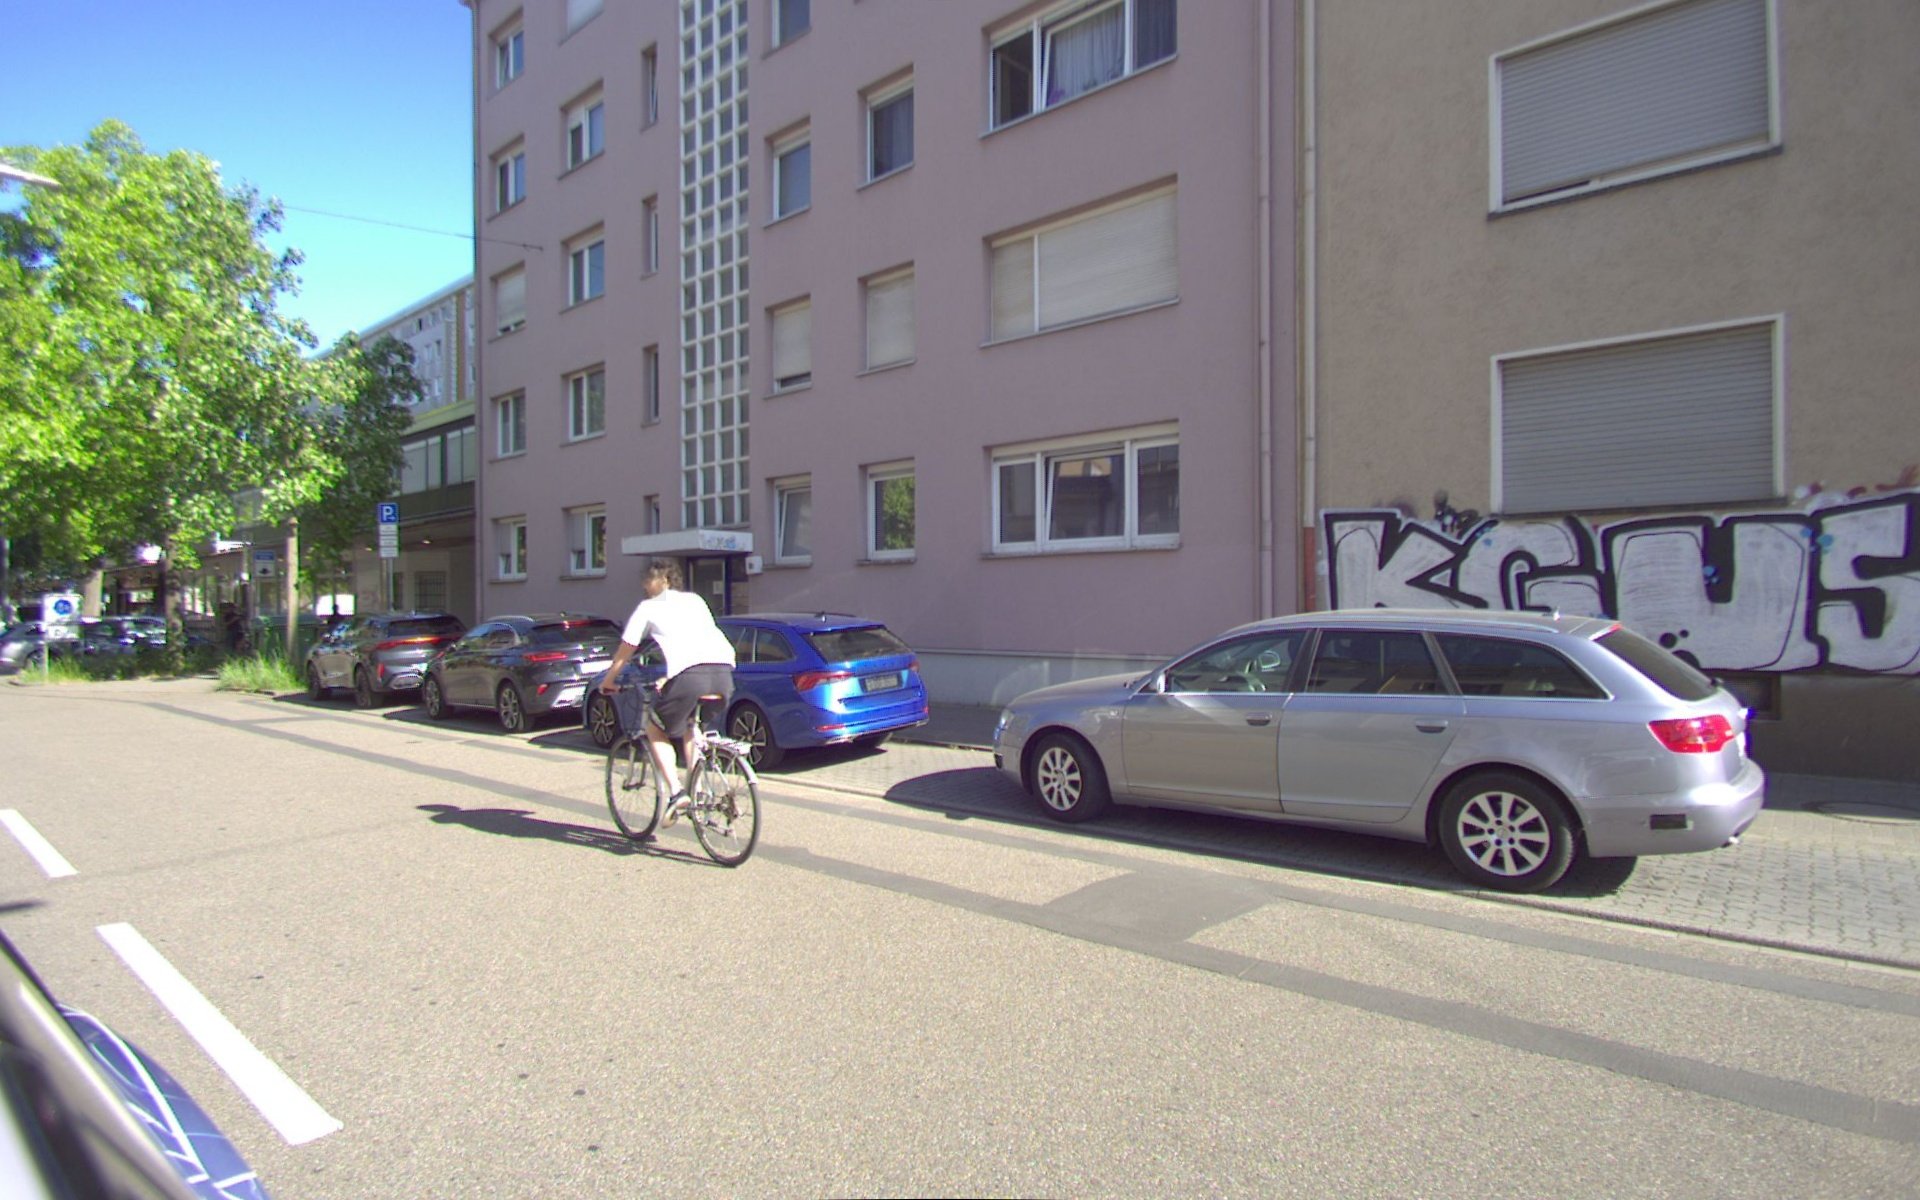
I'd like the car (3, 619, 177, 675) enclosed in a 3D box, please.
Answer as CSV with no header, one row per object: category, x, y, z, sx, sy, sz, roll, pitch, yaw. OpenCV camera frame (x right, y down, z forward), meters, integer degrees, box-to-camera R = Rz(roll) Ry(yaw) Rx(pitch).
car,-27.064,1.412,31.568,1.913,1.564,3.943,-1,-1,43

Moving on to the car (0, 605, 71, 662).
car,-35.879,1.253,37.827,1.913,2.058,3.824,-1,-1,43

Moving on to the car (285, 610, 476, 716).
car,-10.314,1.023,17.877,4.157,1.588,1.704,-1,1,43

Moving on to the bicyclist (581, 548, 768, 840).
bicyclist,-1.767,0.535,6.253,0.945,1.632,0.709,-1,-2,41

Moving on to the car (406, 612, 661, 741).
car,-6.113,0.966,14.284,4.157,1.478,1.704,-1,1,43

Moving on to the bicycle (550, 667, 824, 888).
bicycle,-1.720,0.991,6.204,1.871,1.072,0.709,-1,-1,41

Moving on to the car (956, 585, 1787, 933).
car,2.402,0.746,6.759,4.797,1.514,1.805,-1,1,40

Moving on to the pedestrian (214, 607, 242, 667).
pedestrian,-22.723,1.140,31.410,0.502,1.820,0.615,-2,-1,42

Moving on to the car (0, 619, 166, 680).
car,-25.181,1.364,28.721,1.913,1.564,3.943,-1,-1,43

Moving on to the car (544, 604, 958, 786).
car,-2.456,0.875,11.056,4.797,1.514,1.805,-1,1,40
